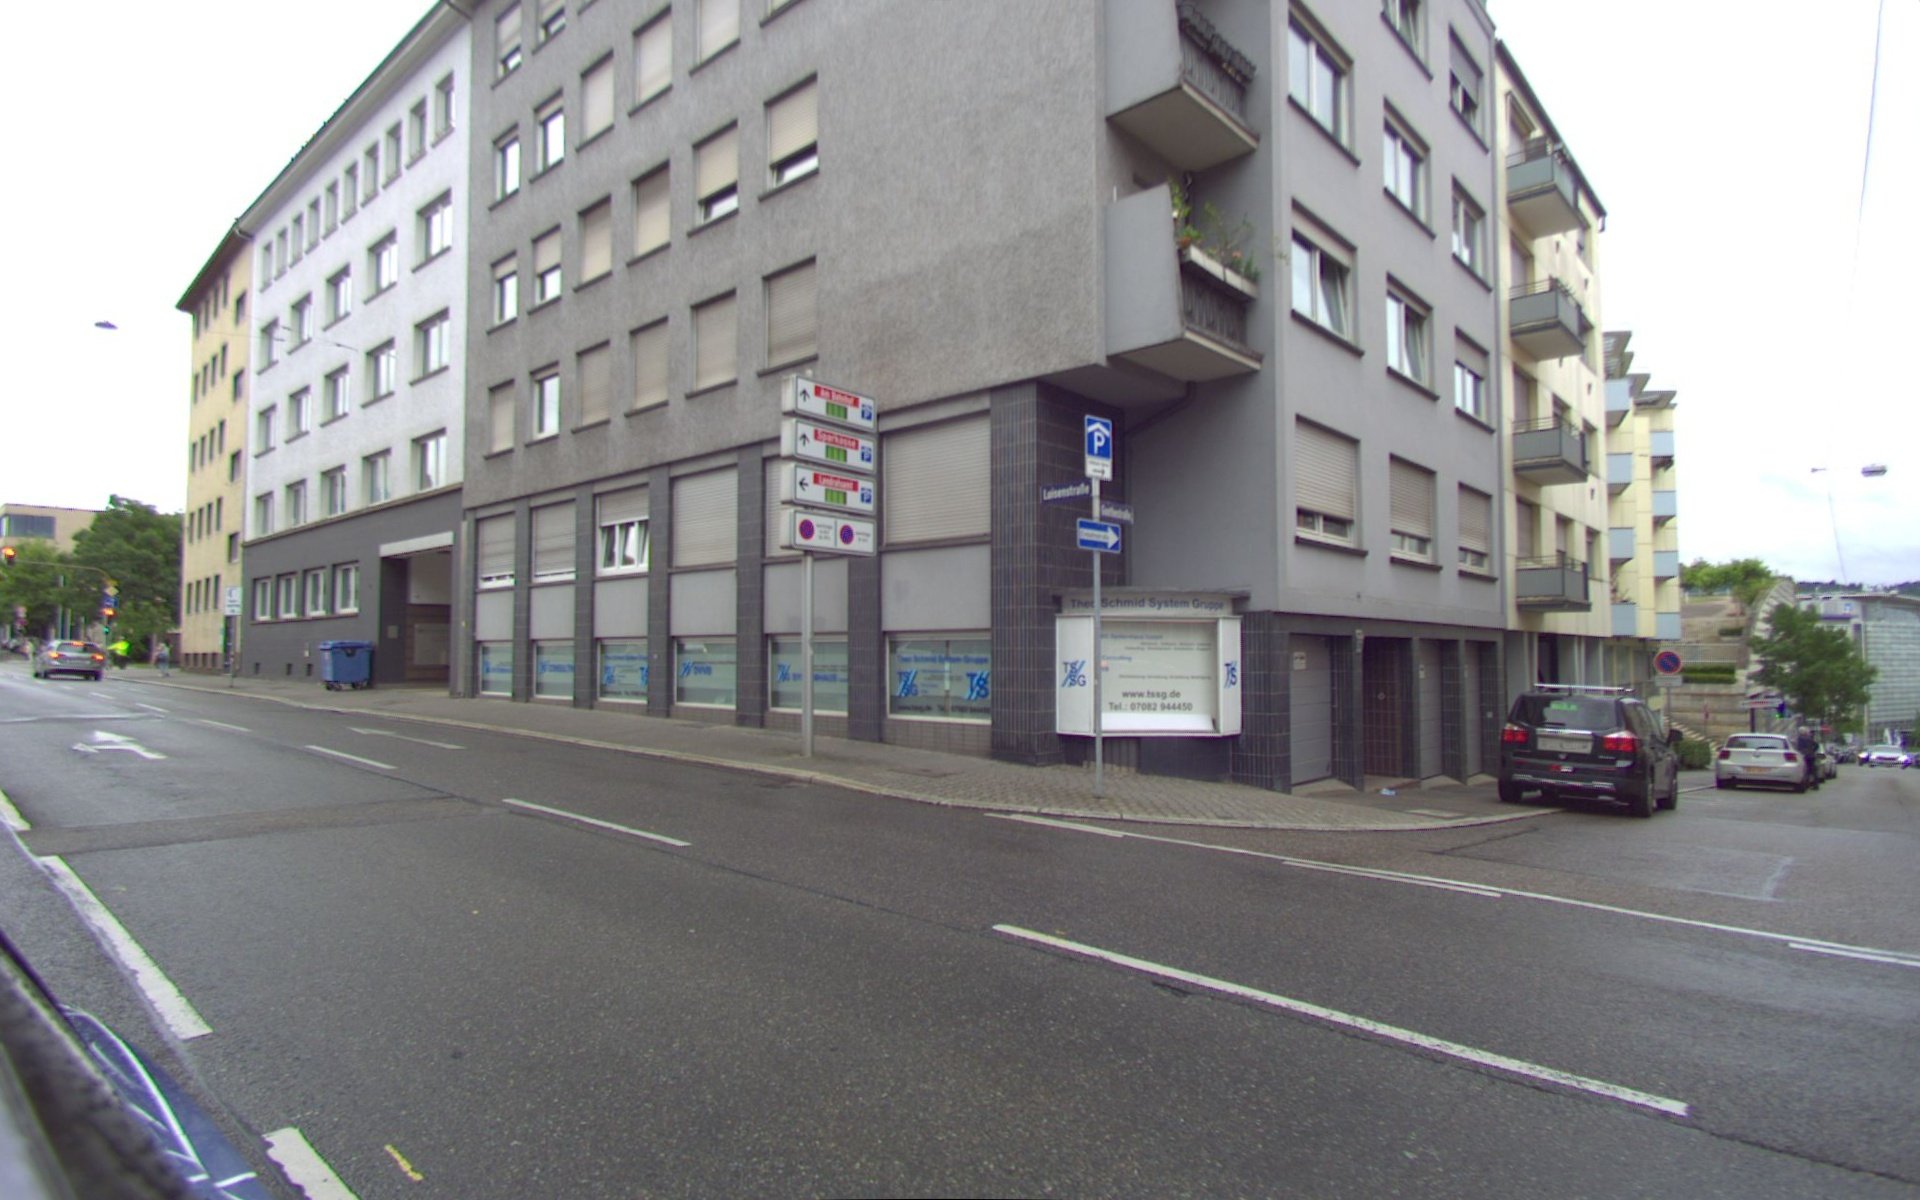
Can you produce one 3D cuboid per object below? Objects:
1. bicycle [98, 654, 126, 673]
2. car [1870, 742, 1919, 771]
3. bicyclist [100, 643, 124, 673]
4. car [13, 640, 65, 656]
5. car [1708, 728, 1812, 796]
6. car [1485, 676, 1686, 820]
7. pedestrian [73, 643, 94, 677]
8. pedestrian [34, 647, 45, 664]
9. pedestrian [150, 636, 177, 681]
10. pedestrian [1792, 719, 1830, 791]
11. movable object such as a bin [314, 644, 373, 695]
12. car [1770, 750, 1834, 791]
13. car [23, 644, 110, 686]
[{"bbox_3d":[-42.495,3.173,50.724,1.867,0.914,0.875,-2,-2,44],"label":"bicycle"},{"bbox_3d":[55.407,9.251,60.009,1.928,1.471,3.947,-2,-7,39],"label":"car"},{"bbox_3d":[-42.506,2.908,50.732,0.813,1.453,0.833,-2,-2,44],"label":"bicyclist"},{"bbox_3d":[-97.136,5.052,106.767,3.940,1.597,2.001,1,-2,-44],"label":"car"},{"bbox_3d":[20.498,4.083,25.864,1.929,1.471,3.946,-2,-7,40],"label":"car"},{"bbox_3d":[9.210,2.103,14.768,1.929,1.731,3.946,-2,-7,40],"label":"car"},{"bbox_3d":[-44.202,3.006,51.045,0.811,1.702,0.709,-2,-2,44],"label":"pedestrian"},{"bbox_3d":[-74.606,4.501,81.994,0.475,1.386,0.614,-2,-2,42],"label":"pedestrian"},{"bbox_3d":[-31.217,2.281,39.653,0.811,1.702,0.709,-2,-2,44],"label":"pedestrian"},{"bbox_3d":[23.030,4.183,27.397,0.721,1.829,0.596,-2,-2,41],"label":"pedestrian"},{"bbox_3d":[-16.762,1.866,27.522,1.190,1.334,1.065,-2,-2,42],"label":"movable object such as a bin"},{"bbox_3d":[34.961,7.030,42.032,1.929,1.471,3.946,-2,-7,40],"label":"car"},{"bbox_3d":[-33.870,2.447,38.327,4.293,1.427,1.807,-3,-7,41],"label":"car"}]
